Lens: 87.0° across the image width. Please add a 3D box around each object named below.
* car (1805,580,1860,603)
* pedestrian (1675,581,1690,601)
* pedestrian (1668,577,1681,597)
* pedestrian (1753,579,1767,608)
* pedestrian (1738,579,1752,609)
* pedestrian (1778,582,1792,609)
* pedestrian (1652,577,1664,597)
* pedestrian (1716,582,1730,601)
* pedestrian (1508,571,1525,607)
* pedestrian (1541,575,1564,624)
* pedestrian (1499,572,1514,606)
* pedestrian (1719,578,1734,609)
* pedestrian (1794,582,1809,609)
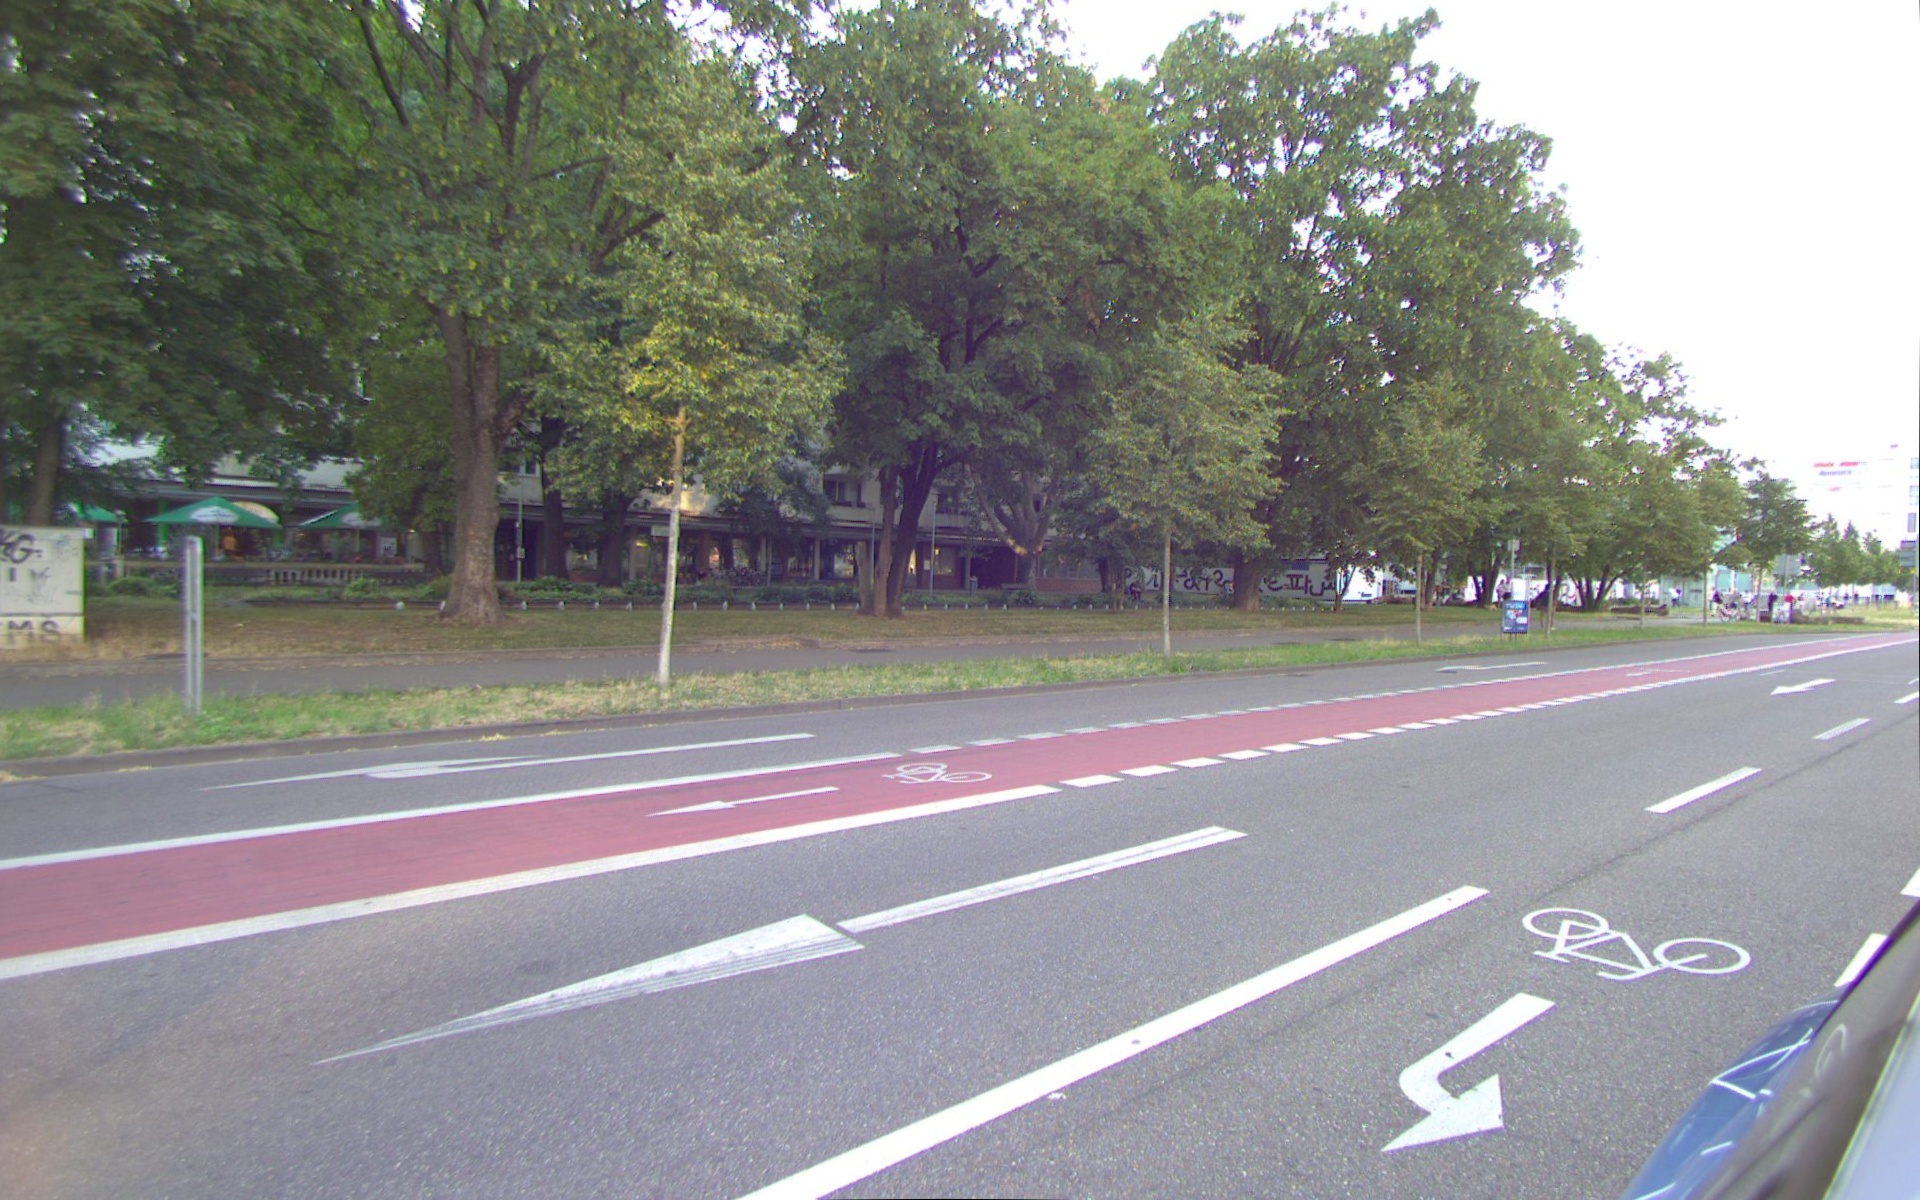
[{"bbox_3d":[86.054,-0.843,99.865,3.989,2.038,1.968,3,2,45],"label":"car"},{"bbox_3d":[52.258,-0.658,73.166,0.604,1.371,0.728,0,2,-40],"label":"pedestrian"},{"bbox_3d":[50.157,-0.917,71.042,0.759,1.371,0.519,0,2,-41],"label":"pedestrian"},{"bbox_3d":[48.046,-0.404,60.784,0.707,1.751,0.508,0,2,-41],"label":"pedestrian"},{"bbox_3d":[47.646,-0.362,61.437,0.707,1.751,0.519,0,2,-41],"label":"pedestrian"},{"bbox_3d":[56.298,-0.302,69.045,0.497,1.779,0.638,0,2,-40],"label":"pedestrian"},{"bbox_3d":[49.460,-0.910,71.699,0.759,1.371,0.519,0,2,-41],"label":"pedestrian"},{"bbox_3d":[54.335,-0.612,72.078,0.550,1.371,0.662,0,2,-40],"label":"pedestrian"},{"bbox_3d":[25.934,-0.518,47.186,0.513,1.621,0.500,0,2,-41],"label":"pedestrian"},{"bbox_3d":[21.935,-0.029,37.470,0.546,1.760,0.558,0,2,-41],"label":"pedestrian"},{"bbox_3d":[26.423,-0.555,48.896,0.359,1.621,0.500,0,2,-40],"label":"pedestrian"},{"bbox_3d":[44.539,-0.396,58.773,0.707,1.751,0.508,0,2,-41],"label":"pedestrian"},{"bbox_3d":[56.471,-0.289,67.887,0.497,1.779,0.638,0,2,-40],"label":"pedestrian"}]
